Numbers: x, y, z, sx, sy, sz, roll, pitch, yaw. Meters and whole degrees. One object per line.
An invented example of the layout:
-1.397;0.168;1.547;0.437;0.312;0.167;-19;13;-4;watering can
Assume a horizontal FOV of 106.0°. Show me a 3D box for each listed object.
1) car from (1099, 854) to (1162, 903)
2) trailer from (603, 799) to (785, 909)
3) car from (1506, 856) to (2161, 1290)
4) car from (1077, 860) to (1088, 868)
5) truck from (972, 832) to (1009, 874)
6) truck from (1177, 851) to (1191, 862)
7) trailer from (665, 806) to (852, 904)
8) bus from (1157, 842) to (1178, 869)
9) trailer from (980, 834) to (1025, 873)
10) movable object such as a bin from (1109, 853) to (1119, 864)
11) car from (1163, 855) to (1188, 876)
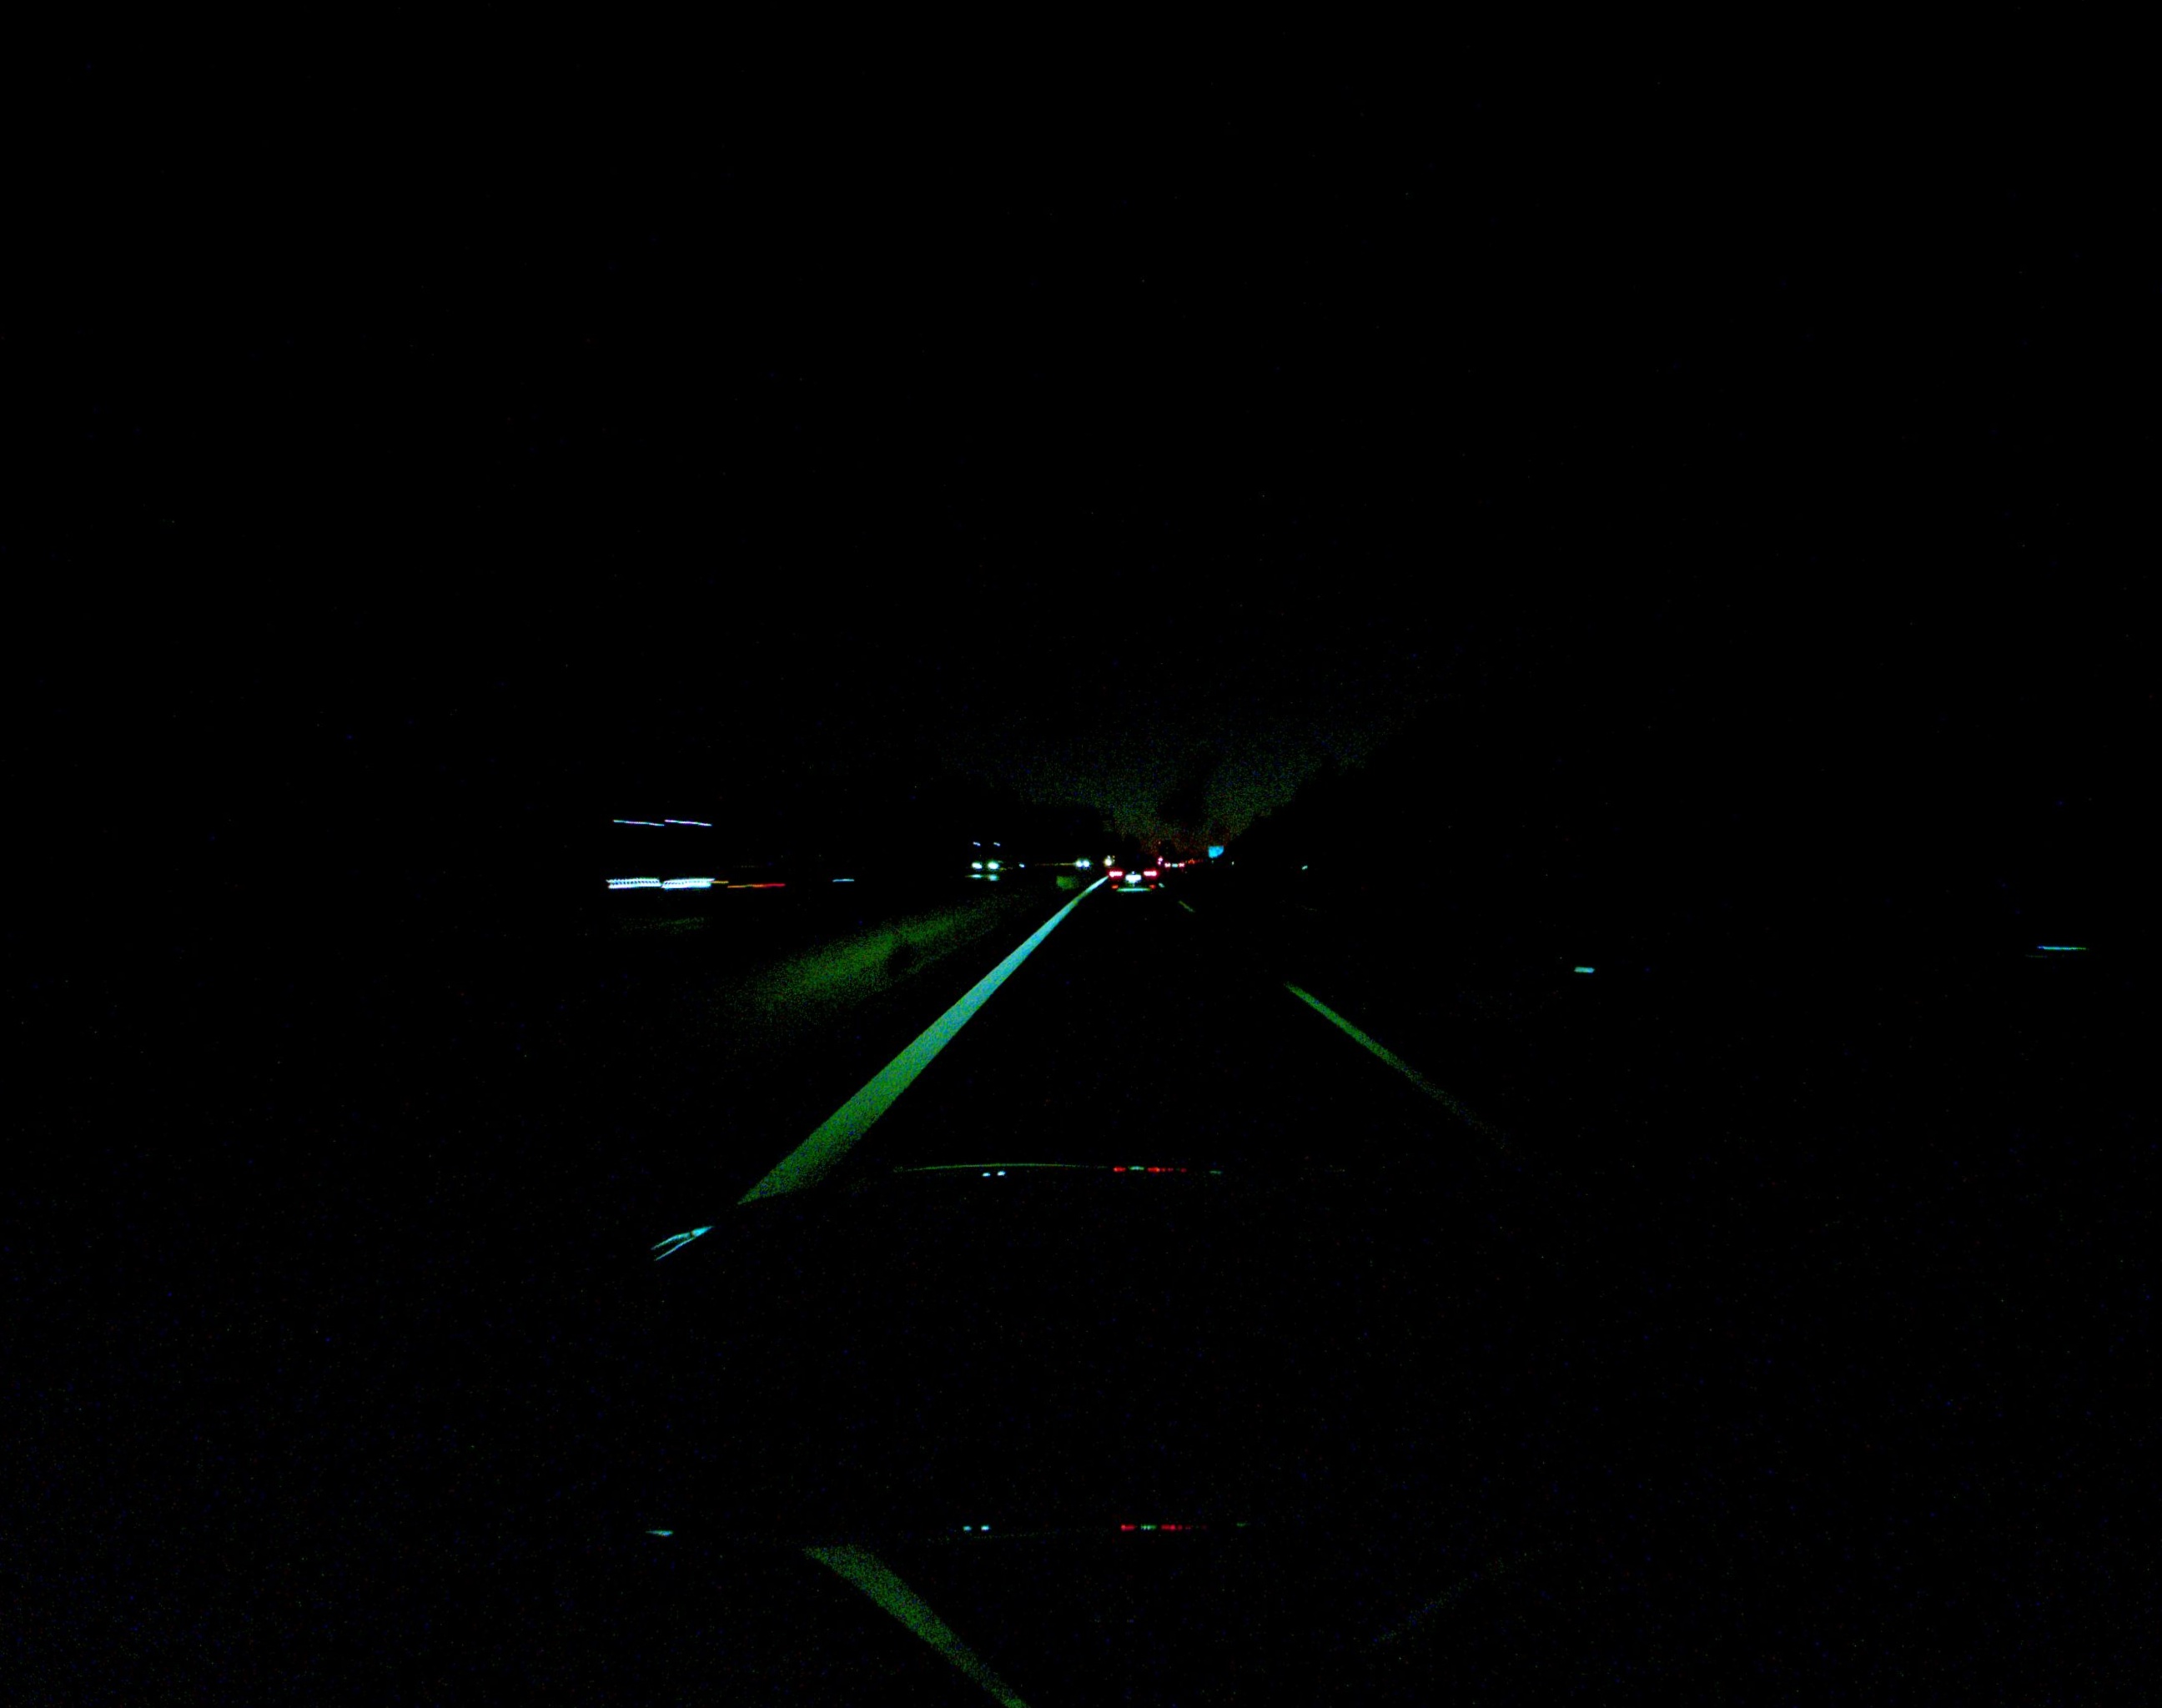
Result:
1.755;0.818;29.669;2.098;1.618;4.206;0;0;2;car
-14.351;0.042;31.016;3.044;3.689;7.237;0;0;4;trailer
4.481;0.720;4.361;1.828;1.401;5.070;-1;0;1;car
0.365;1.856;157.308;1.805;1.453;4.138;-1;0;4;car
-10.065;-0.068;90.740;2.838;4.433;6.405;0;-1;5;truck
26.655;0.661;211.115;2.537;3.016;9.052;0;0;0;truck
-13.940;0.084;36.839;3.044;3.689;11.698;0;0;4;trailer
14.326;0.420;134.239;2.637;3.994;14.734;-3;-2;8;bus
-9.326;-0.012;98.542;2.838;4.433;14.000;0;0;5;trailer
9.888;1.380;243.416;2.196;3.417;7.450;-1;-1;6;movable object such as a bin
8.410;1.049;72.753;1.904;1.730;4.002;2;-2;2;car
